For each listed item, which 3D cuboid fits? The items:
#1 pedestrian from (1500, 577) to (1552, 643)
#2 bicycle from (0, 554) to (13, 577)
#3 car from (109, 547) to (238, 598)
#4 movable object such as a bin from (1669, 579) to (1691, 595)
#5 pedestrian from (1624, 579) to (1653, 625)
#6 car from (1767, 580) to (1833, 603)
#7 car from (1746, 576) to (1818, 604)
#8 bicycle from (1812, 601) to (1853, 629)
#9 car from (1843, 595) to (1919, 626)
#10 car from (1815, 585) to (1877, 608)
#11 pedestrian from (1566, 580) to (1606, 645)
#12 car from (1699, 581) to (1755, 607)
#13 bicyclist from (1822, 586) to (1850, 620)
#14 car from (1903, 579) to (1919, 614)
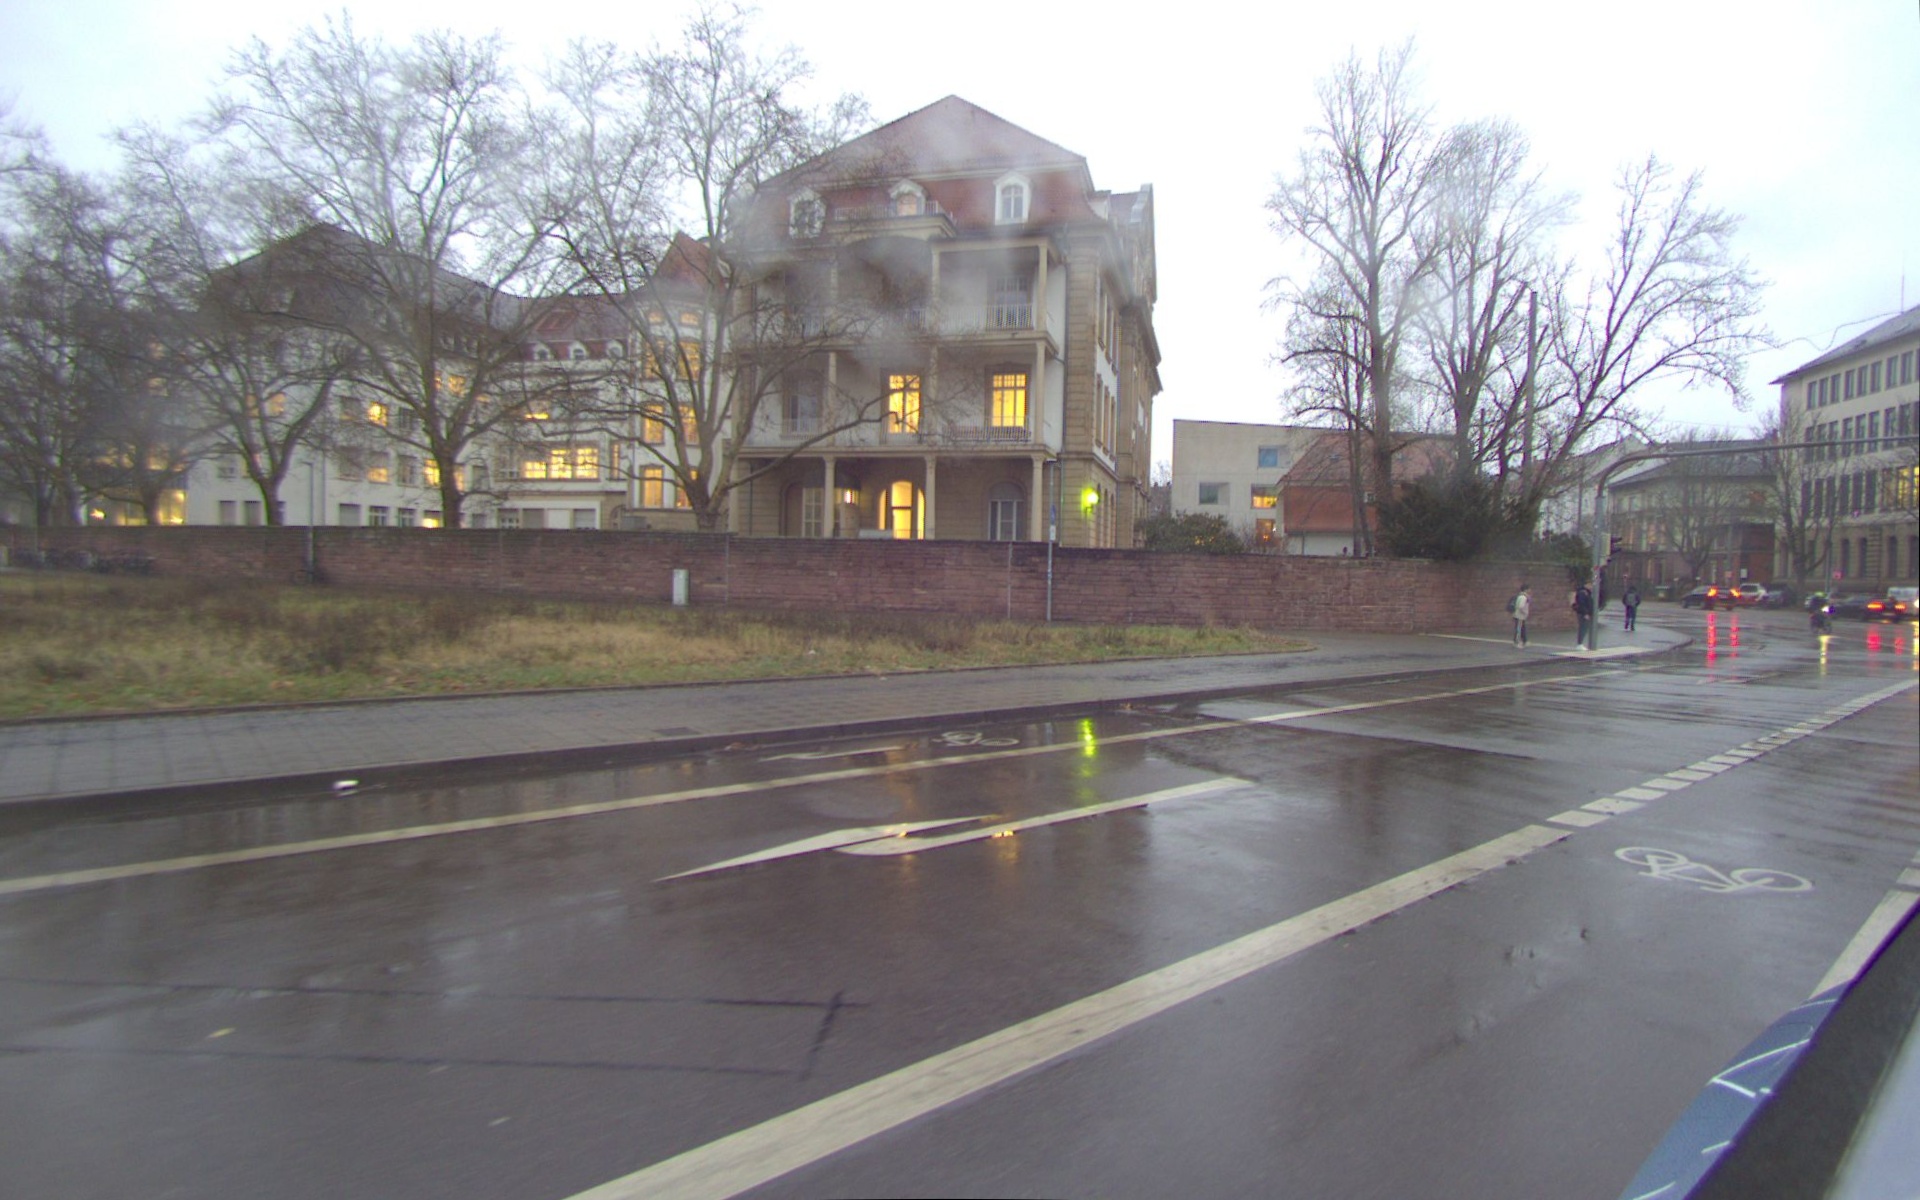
[{"bbox_3d":[15.195,0.258,27.185,0.947,1.696,0.777,3,2,11],"label":"pedestrian"},{"bbox_3d":[-42.466,-1.455,43.601,2.372,1.003,0.479,-3,2,-41],"label":"bicycle"},{"bbox_3d":[-17.059,-0.614,22.070,1.275,0.989,2.688,2,2,-16],"label":"car"},{"bbox_3d":[68.177,-1.232,95.805,0.966,1.482,1.347,-2,2,-22],"label":"movable object such as a bin"},{"bbox_3d":[26.275,0.052,39.209,0.802,1.705,1.143,4,2,33],"label":"pedestrian"},{"bbox_3d":[63.335,-0.654,76.294,3.894,1.558,1.828,-1,2,-12],"label":"car"},{"bbox_3d":[64.243,-0.794,79.123,4.526,2.079,1.970,-1,2,-12],"label":"car"},{"bbox_3d":[35.846,0.597,41.605,0.717,1.104,2.265,1,0,25],"label":"bicycle"},{"bbox_3d":[49.598,0.548,54.090,1.727,1.395,4.348,3,3,14],"label":"car"},{"bbox_3d":[62.566,-0.263,71.444,3.747,1.475,1.641,-2,2,-19],"label":"car"},{"bbox_3d":[16.911,0.325,27.338,0.788,1.696,0.720,4,3,36],"label":"pedestrian"},{"bbox_3d":[53.393,-0.450,70.537,1.738,1.682,4.501,3,3,20],"label":"car"},{"bbox_3d":[35.931,0.113,41.528,0.711,1.359,0.712,0,2,29],"label":"bicyclist"},{"bbox_3d":[58.973,-0.263,60.562,4.704,2.058,1.917,-2,2,-23],"label":"car"}]
